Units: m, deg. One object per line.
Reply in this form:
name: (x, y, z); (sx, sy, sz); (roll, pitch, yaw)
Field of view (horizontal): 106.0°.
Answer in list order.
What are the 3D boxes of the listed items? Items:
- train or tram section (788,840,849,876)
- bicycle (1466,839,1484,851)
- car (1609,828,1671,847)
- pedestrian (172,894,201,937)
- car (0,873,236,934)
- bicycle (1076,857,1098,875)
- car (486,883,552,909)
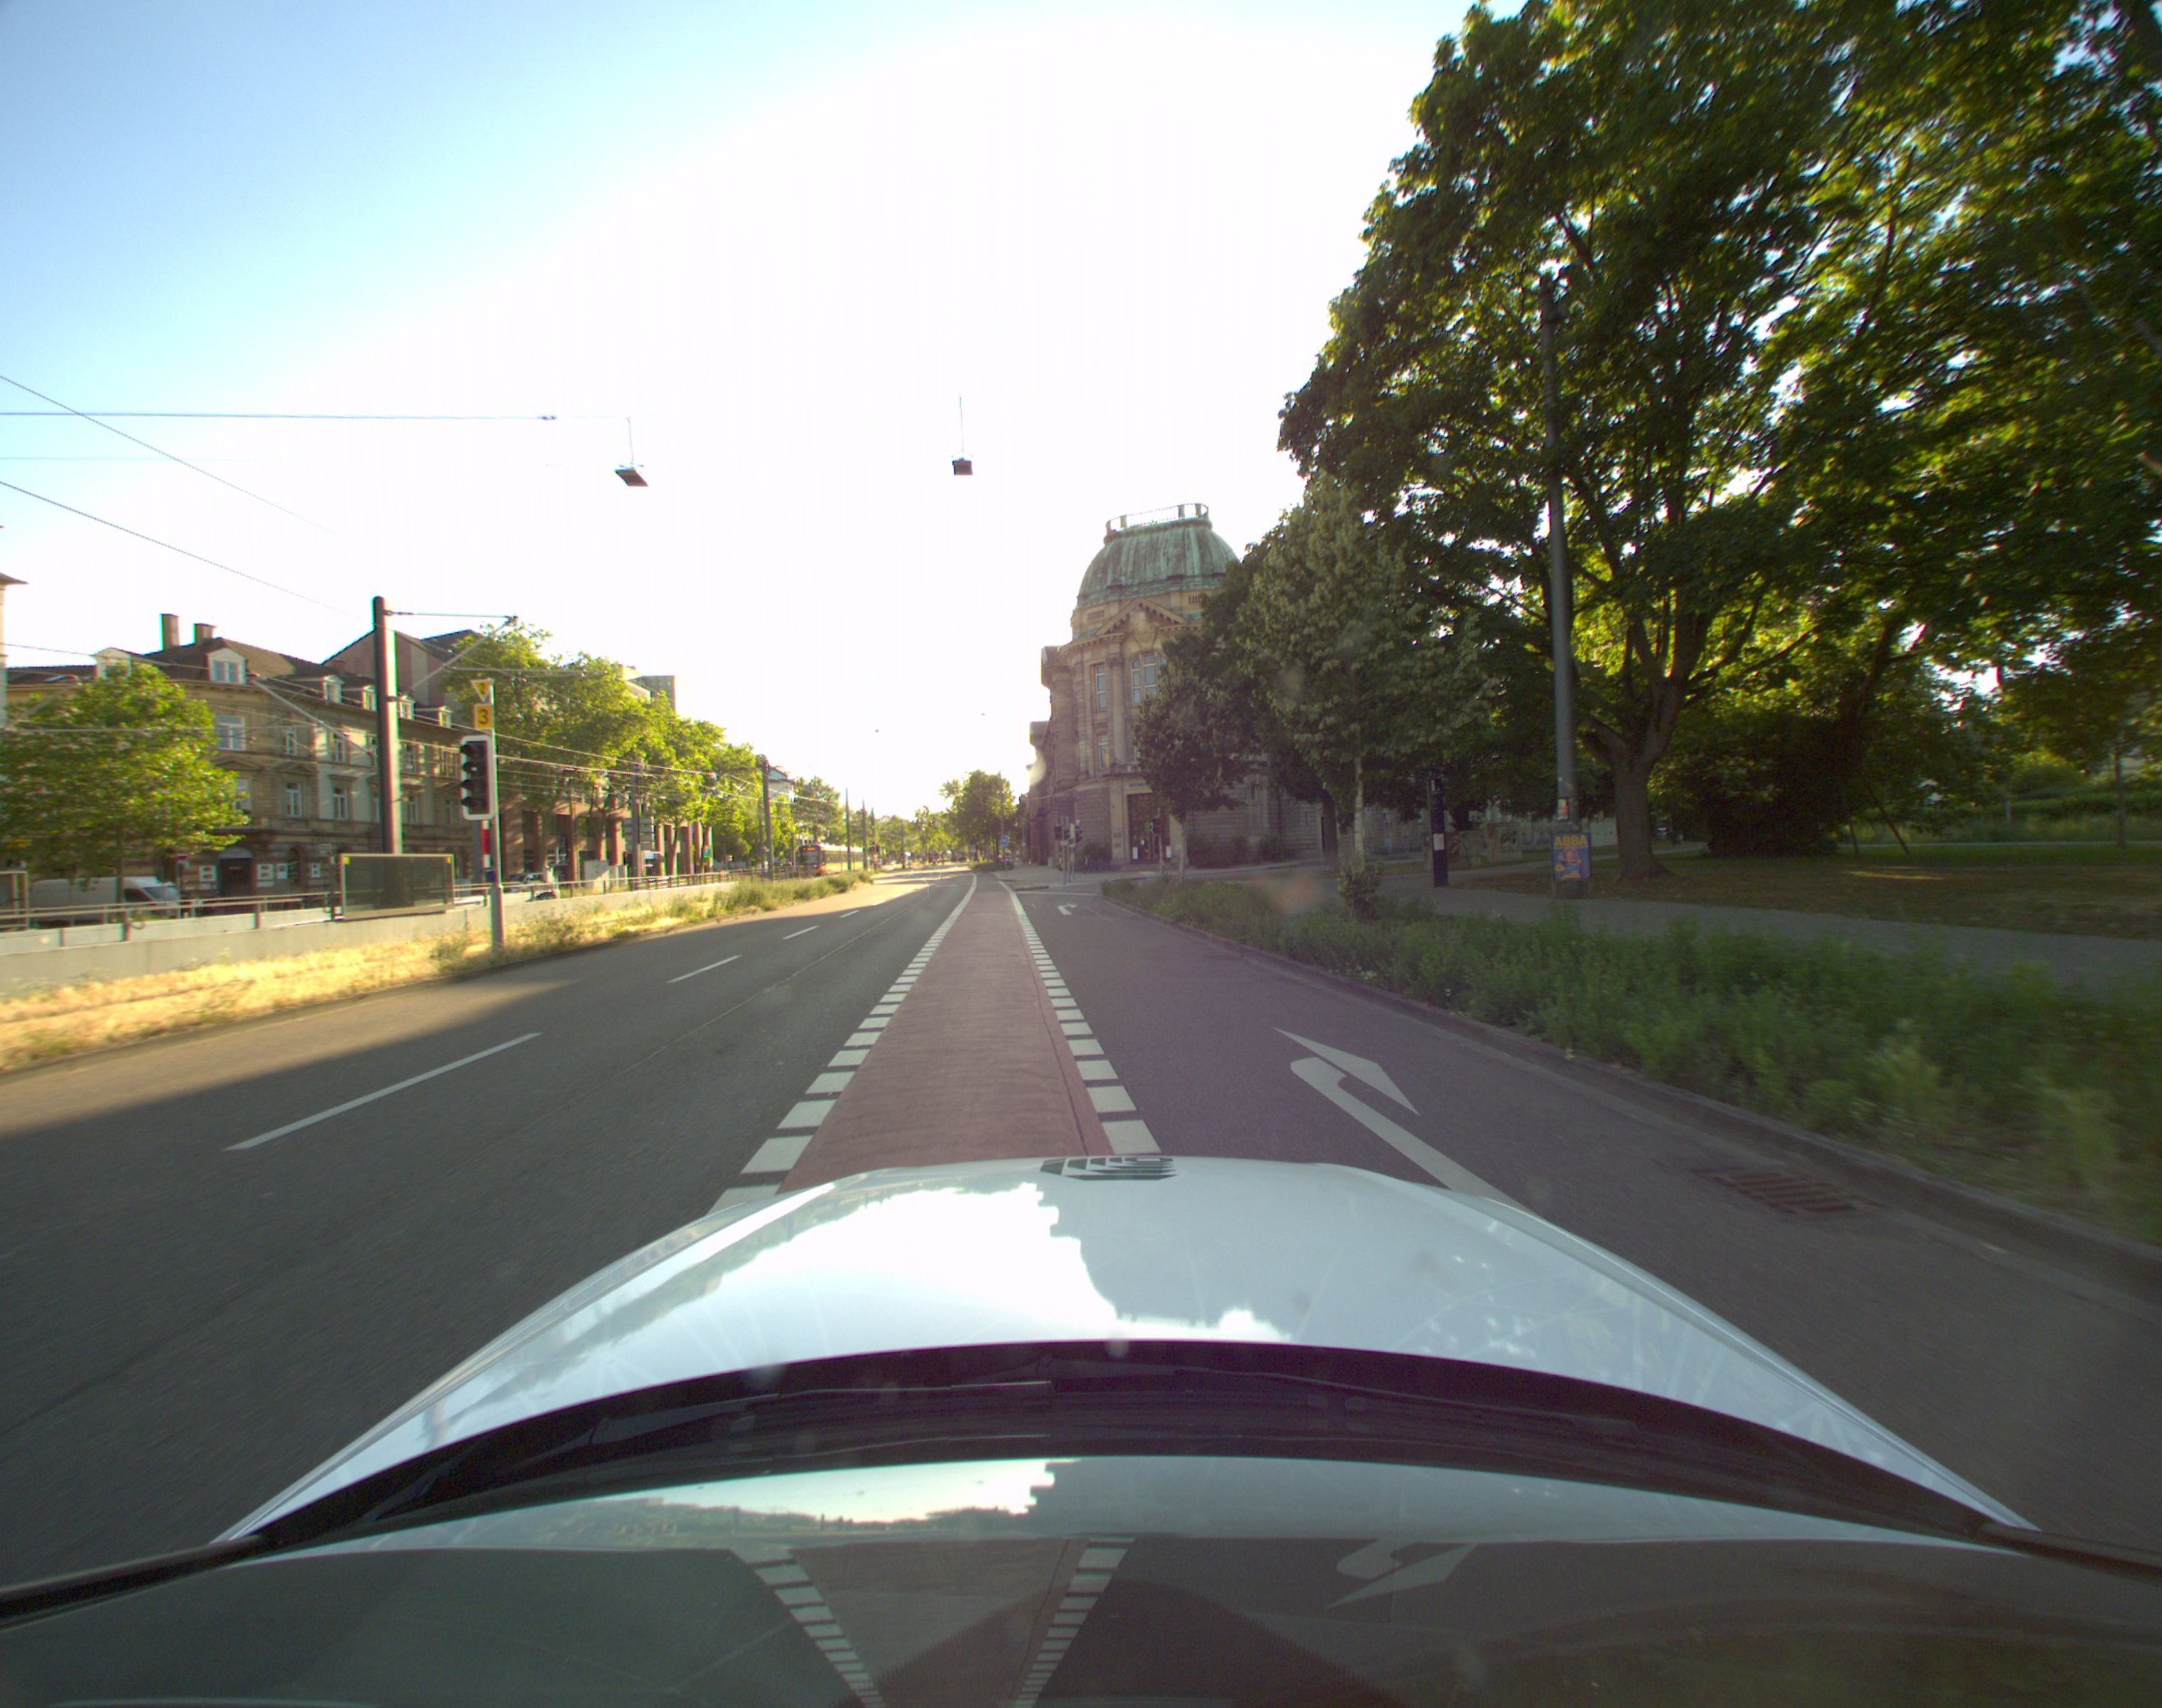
train or tram section: (-29.484, 0.483, 92.346); (3.109, 3.559, 17.435); (-3, 0, -7)
bicycle: (38.800, -0.915, 80.207); (1.992, 1.101, 0.845); (-2, 1, -40)
car: (51.217, -1.522, 74.649); (1.793, 1.469, 4.400); (-2, -2, -44)
pedestrian: (-40.668, 2.776, 37.050); (0.629, 1.919, 0.585); (0, -1, -4)
car: (-44.298, 2.216, 37.499); (7.271, 2.266, 2.461); (-3, 0, -11)
bicycle: (0.417, 0.847, 57.446); (0.860, 1.196, 2.249); (-3, 0, 17)
car: (-40.565, 3.016, 58.907); (1.758, 1.585, 4.726); (-3, 0, -5)
